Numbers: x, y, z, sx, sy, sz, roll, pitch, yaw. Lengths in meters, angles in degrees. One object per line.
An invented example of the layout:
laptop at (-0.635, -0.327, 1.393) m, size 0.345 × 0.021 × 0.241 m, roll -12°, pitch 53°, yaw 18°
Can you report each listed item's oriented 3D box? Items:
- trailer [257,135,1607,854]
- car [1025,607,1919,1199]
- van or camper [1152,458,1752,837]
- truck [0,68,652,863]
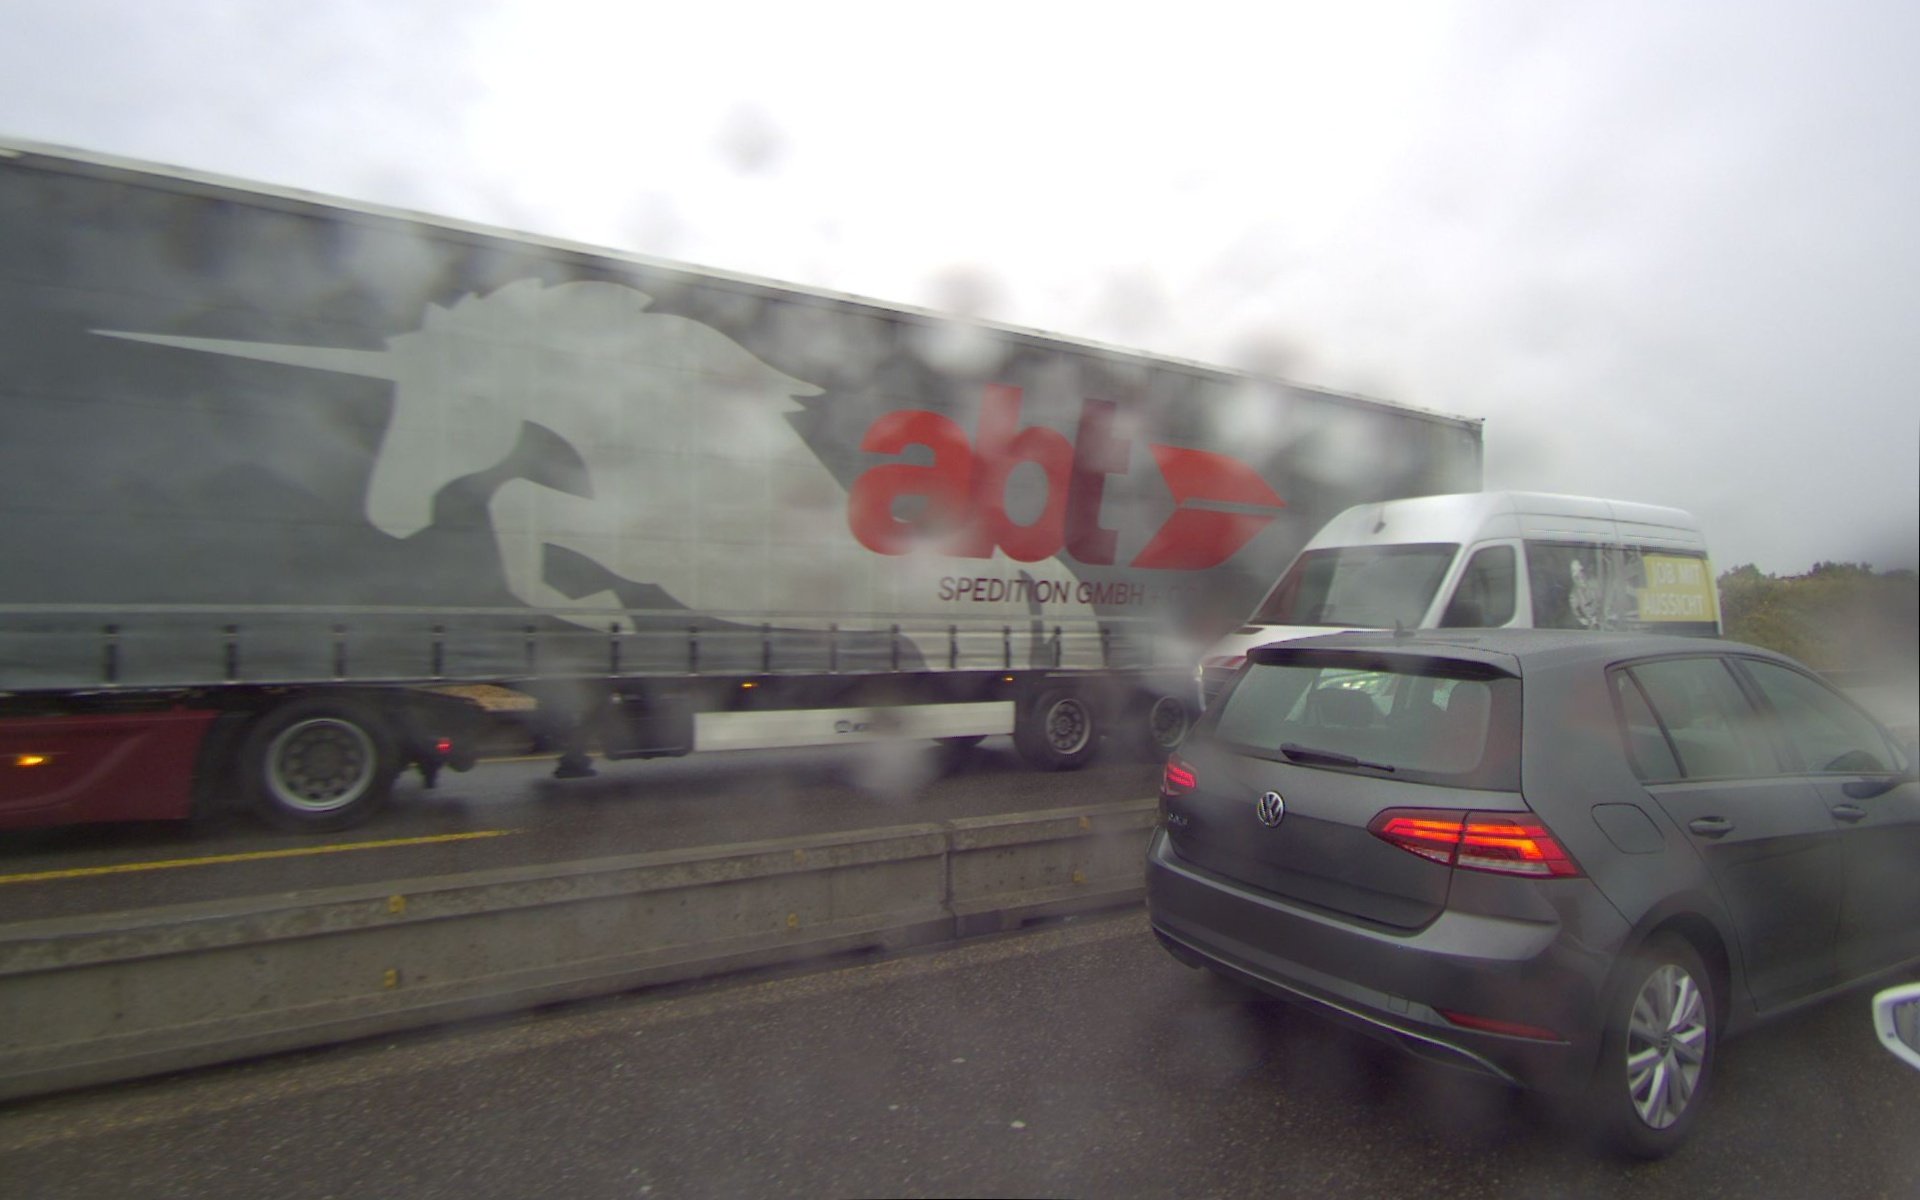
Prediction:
trailer at (1.618, -0.533, 11.474) m, size 15.517 × 4.479 × 2.981 m, roll 1°, pitch -2°, yaw -30°
car at (2.475, 0.863, 3.948) m, size 4.318 × 1.526 × 1.606 m, roll 2°, pitch -3°, yaw -31°
van or camper at (4.784, 0.383, 9.475) m, size 5.760 × 2.649 × 2.267 m, roll 1°, pitch 0°, yaw -30°
truck at (-5.972, -0.715, 6.992) m, size 6.850 × 4.467 × 2.966 m, roll 1°, pitch -2°, yaw -31°
